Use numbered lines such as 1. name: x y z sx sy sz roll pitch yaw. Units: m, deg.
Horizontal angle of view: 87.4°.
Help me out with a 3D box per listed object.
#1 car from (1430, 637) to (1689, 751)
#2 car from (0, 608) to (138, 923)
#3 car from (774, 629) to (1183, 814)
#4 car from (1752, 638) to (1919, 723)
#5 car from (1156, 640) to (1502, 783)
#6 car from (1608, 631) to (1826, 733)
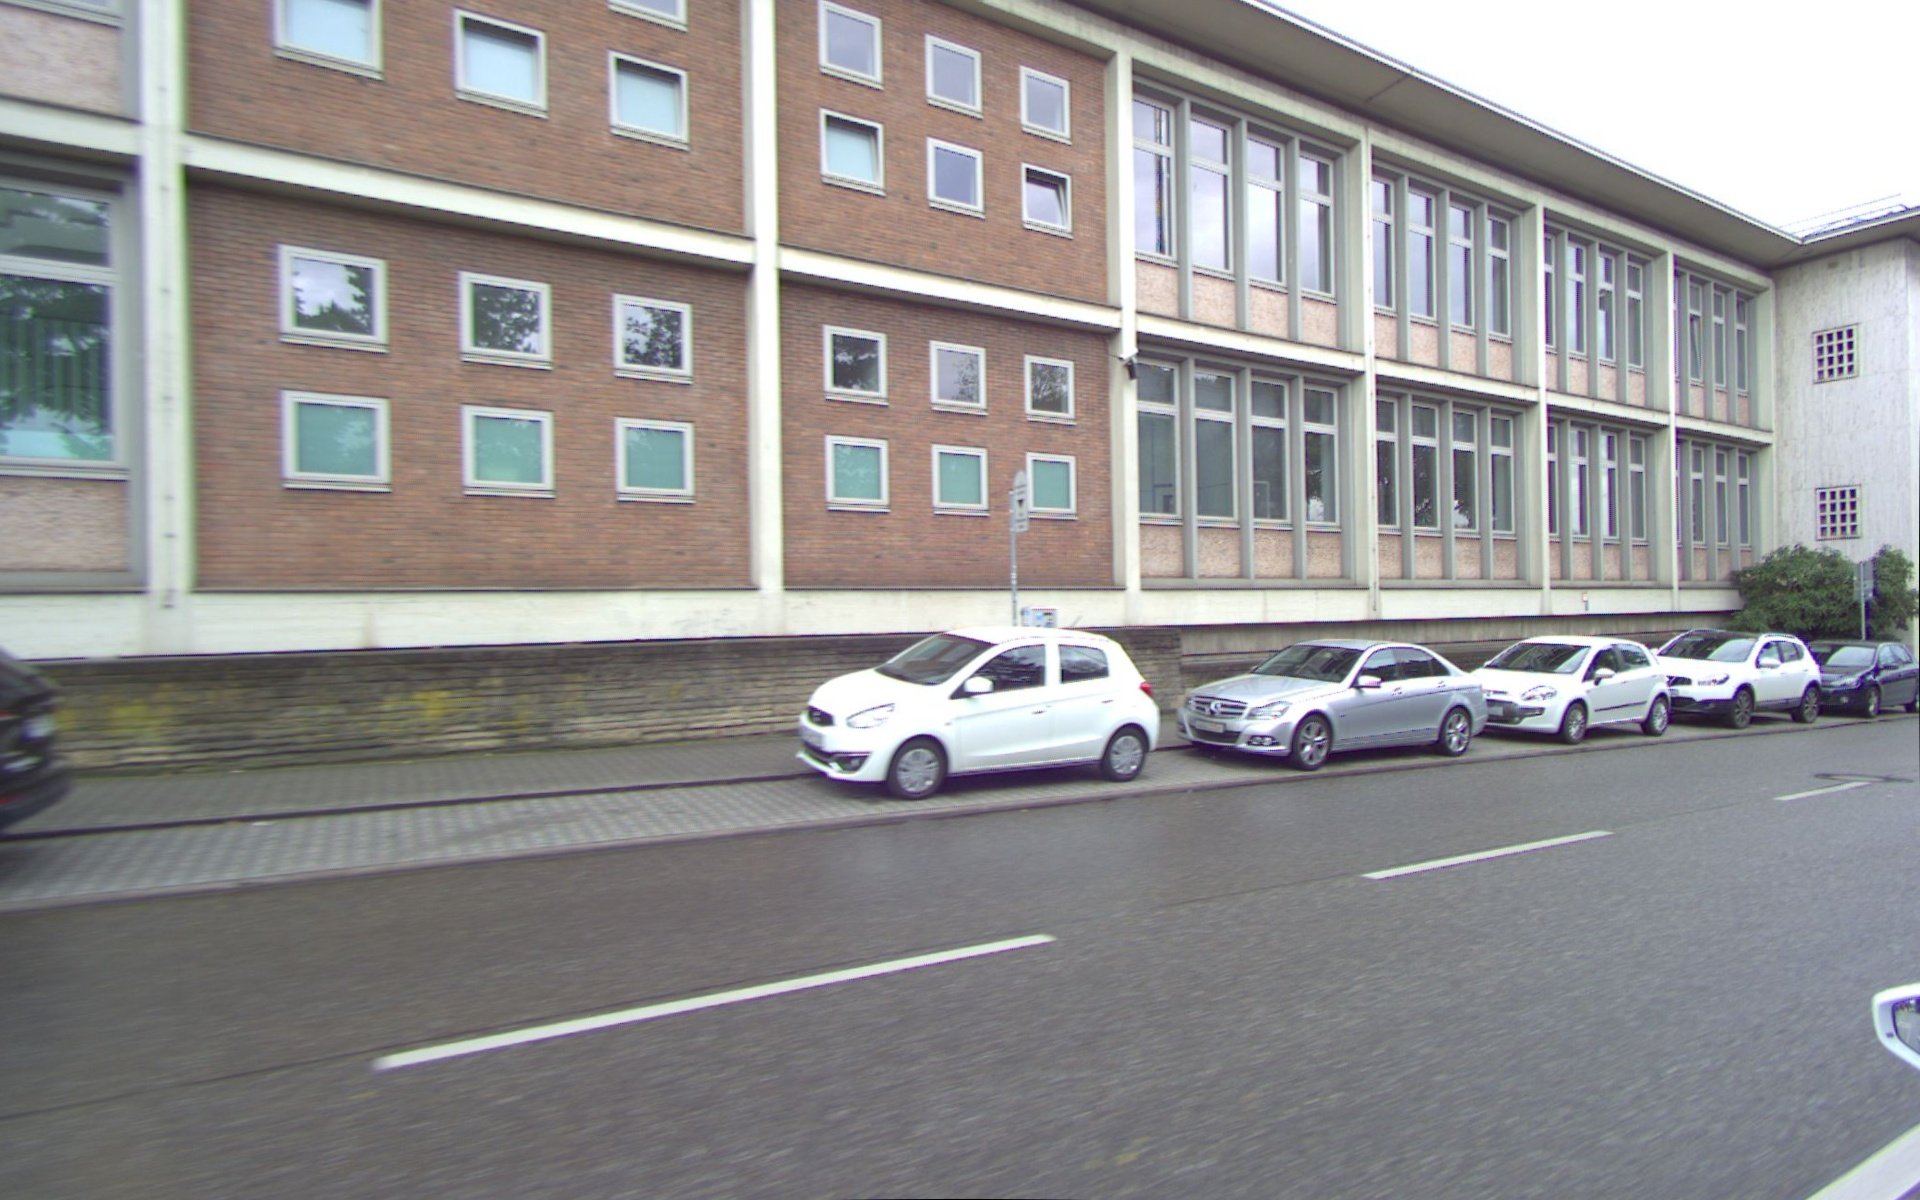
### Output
1. car: 9.307 1.342 15.515 4.134 1.473 1.738 1 0 -32
2. car: -7.310 0.857 5.186 4.464 1.675 1.832 2 -1 -31
3. car: 0.247 1.087 10.212 3.875 1.543 1.671 1 -1 -31
4. car: 18.273 1.583 20.732 4.134 1.499 1.738 1 0 -32
5. car: 4.721 1.274 12.656 4.436 1.454 1.738 2 0 -32
6. car: 13.793 1.392 18.251 4.133 1.619 1.739 1 0 -31
